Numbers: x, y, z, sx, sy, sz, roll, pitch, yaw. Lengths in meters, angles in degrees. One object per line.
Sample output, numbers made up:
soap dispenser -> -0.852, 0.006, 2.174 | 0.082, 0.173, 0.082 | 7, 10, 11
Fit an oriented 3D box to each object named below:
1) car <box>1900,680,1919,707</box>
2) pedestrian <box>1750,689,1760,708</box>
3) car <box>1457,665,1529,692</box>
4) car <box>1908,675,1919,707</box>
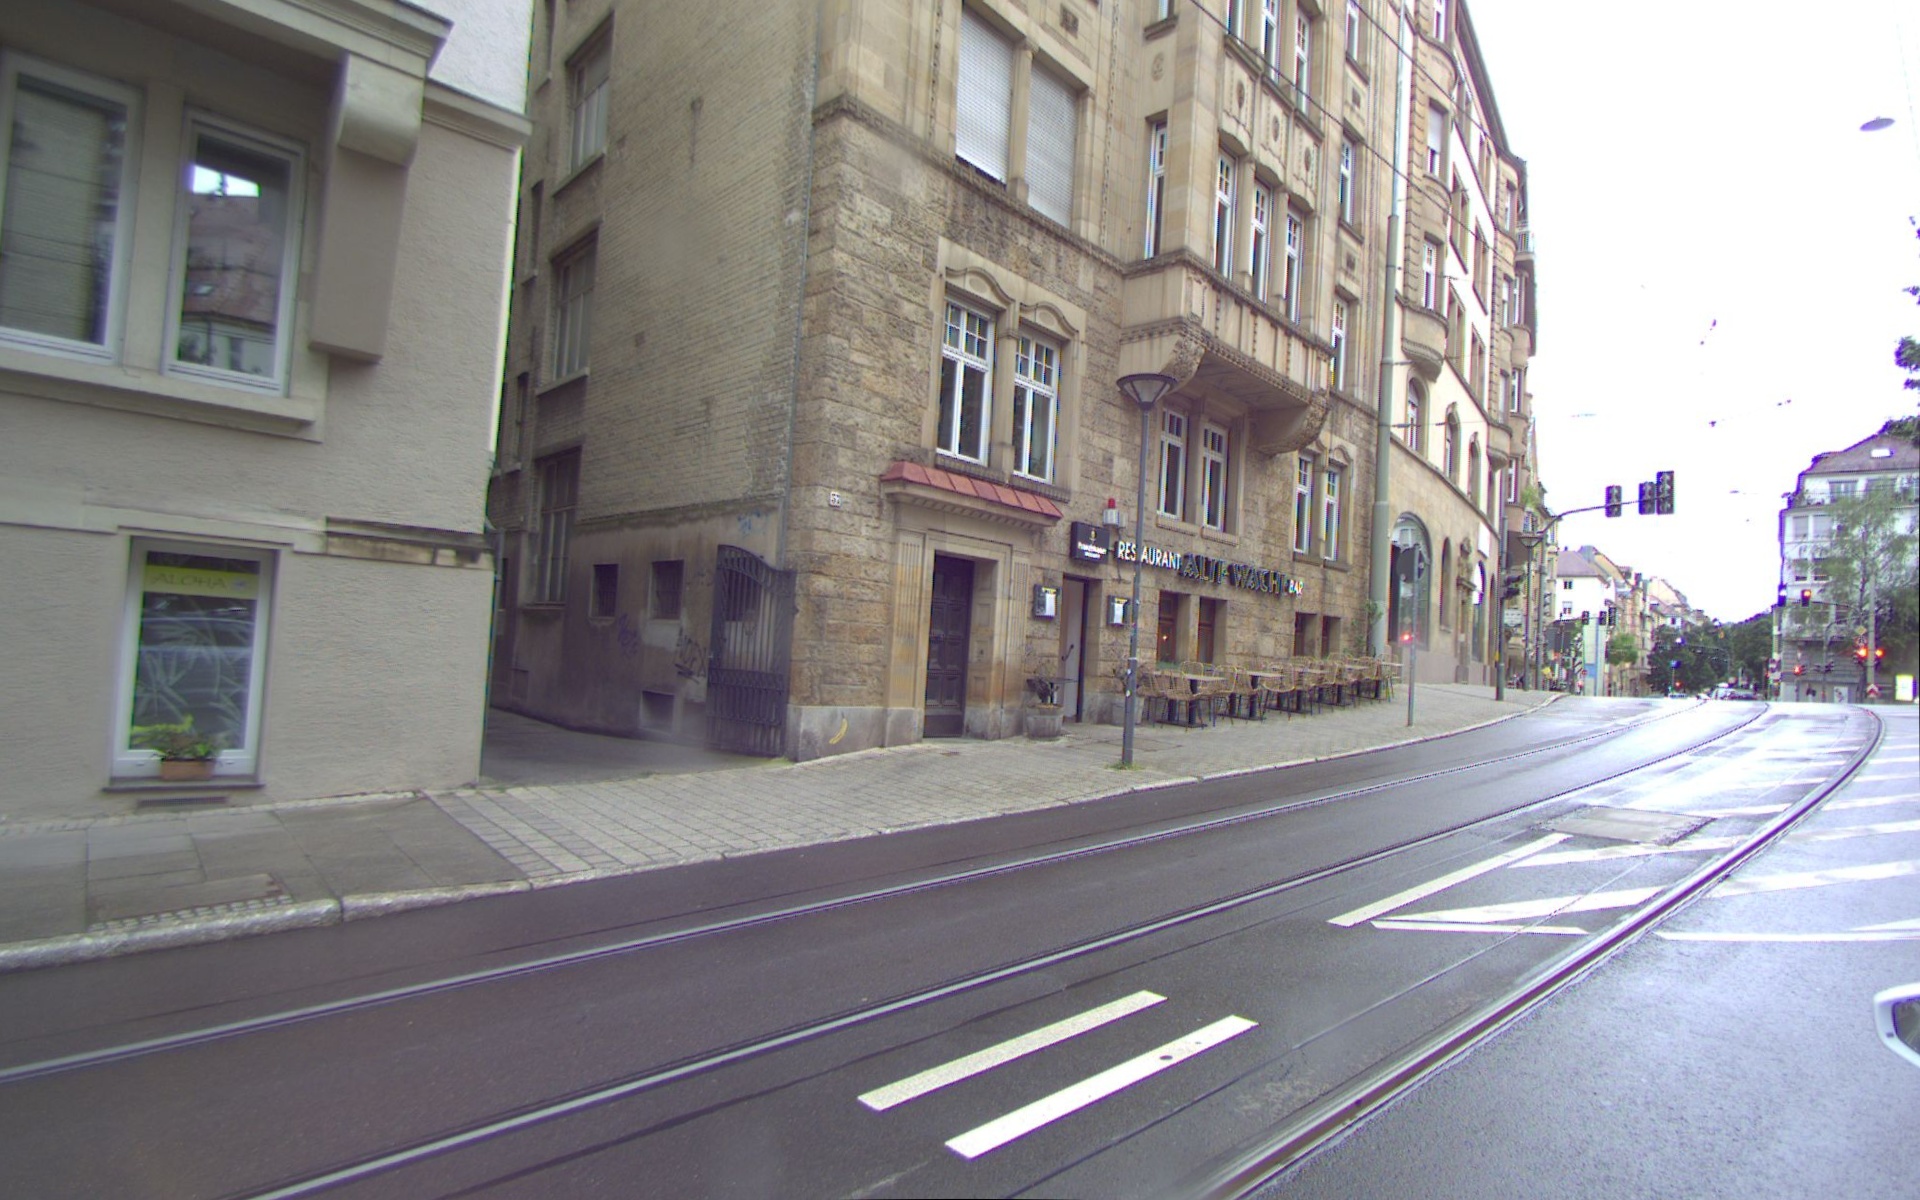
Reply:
car -> 61.058, 5.803, 62.498 | 3.930, 1.635, 1.796 | 1, -2, -12
pedestrian -> 70.509, 8.723, 89.057 | 0.640, 1.683, 0.647 | 1, -1, 40
car -> 34.161, 5.006, 64.371 | 3.932, 1.530, 1.795 | 0, -2, 33
car -> 50.041, 4.585, 50.941 | 3.954, 1.530, 1.786 | 2, -4, -31
